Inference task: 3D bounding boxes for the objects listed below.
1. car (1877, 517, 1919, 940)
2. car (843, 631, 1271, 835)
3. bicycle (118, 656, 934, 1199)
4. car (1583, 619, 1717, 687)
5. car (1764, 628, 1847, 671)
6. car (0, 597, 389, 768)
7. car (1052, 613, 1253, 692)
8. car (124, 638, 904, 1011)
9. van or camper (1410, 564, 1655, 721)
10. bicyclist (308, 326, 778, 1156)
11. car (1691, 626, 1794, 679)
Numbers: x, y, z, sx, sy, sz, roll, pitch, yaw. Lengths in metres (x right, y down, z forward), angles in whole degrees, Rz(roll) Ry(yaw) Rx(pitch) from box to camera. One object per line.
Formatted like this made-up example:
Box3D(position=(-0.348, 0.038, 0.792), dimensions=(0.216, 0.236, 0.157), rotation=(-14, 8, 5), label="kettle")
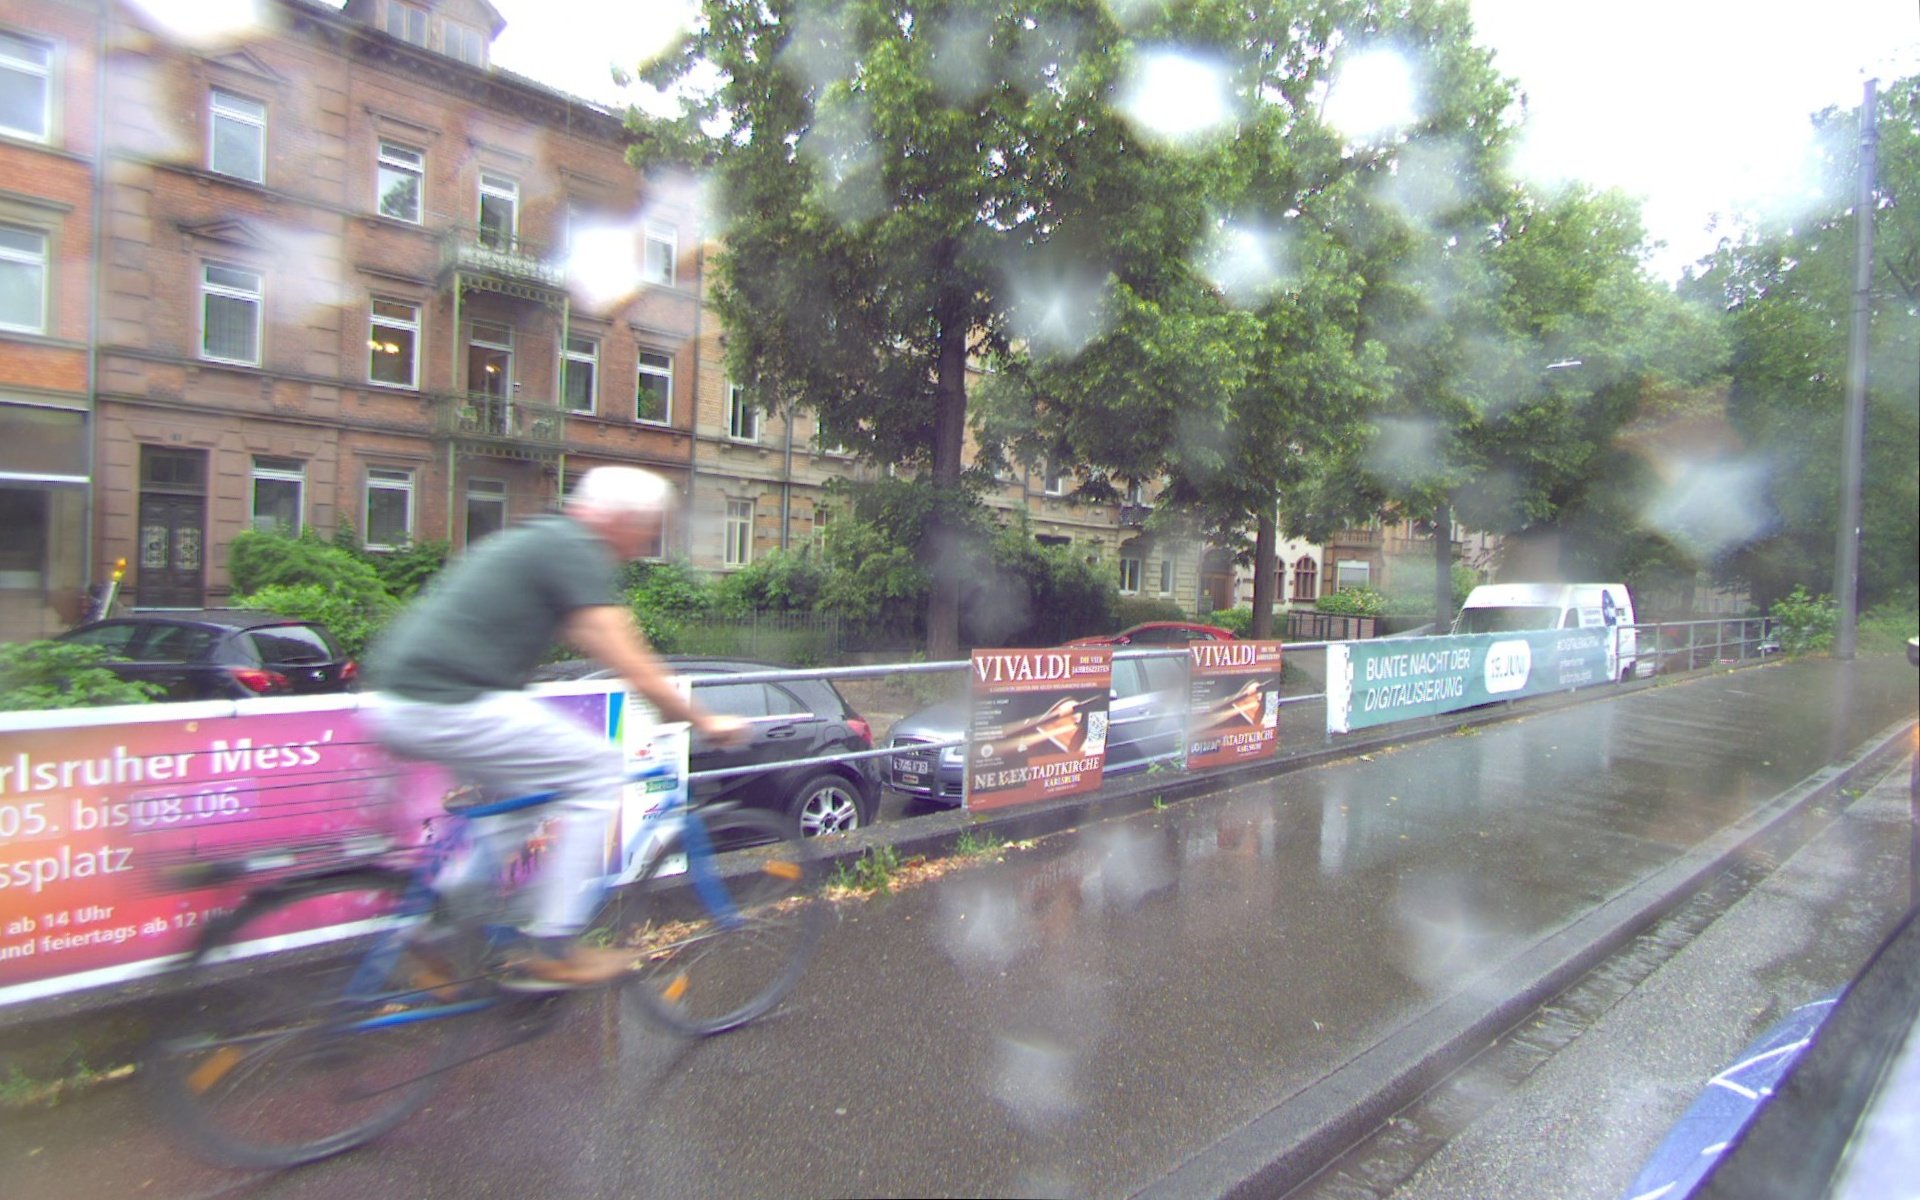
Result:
Box3D(position=(6.088, 0.559, 4.779), dimensions=(4.595, 1.667, 1.913), rotation=(1, 0, -39), label="car")
Box3D(position=(1.088, 1.088, 9.826), dimensions=(4.141, 1.488, 1.730), rotation=(1, 0, -41), label="car")
Box3D(position=(-1.002, 0.747, 2.697), dimensions=(0.738, 1.086, 1.836), rotation=(3, 1, 45), label="bicycle")
Box3D(position=(16.639, 1.208, 24.334), dimensions=(4.142, 1.365, 1.629), rotation=(0, 1, -41), label="car")
Box3D(position=(32.120, 1.842, 38.419), dimensions=(3.929, 1.473, 1.808), rotation=(2, 0, -41), label="car")
Box3D(position=(-8.564, 0.781, 10.956), dimensions=(3.940, 1.527, 1.853), rotation=(1, 0, 13), label="car")
Box3D(position=(4.322, 1.119, 22.626), dimensions=(4.230, 1.488, 1.700), rotation=(2, 0, 18), label="car")
Box3D(position=(-2.529, 1.032, 6.349), dimensions=(4.142, 1.482, 1.749), rotation=(1, 0, -41), label="car")
Box3D(position=(11.308, 0.732, 19.747), dimensions=(5.991, 2.624, 2.330), rotation=(1, 0, -42), label="van or camper")
Box3D(position=(-1.067, 0.279, 2.614), dimensions=(0.736, 1.676, 0.863), rotation=(2, 1, 44), label="bicyclist")
Box3D(position=(23.428, 1.515, 30.267), dimensions=(3.930, 1.389, 1.702), rotation=(0, 0, -41), label="car")
